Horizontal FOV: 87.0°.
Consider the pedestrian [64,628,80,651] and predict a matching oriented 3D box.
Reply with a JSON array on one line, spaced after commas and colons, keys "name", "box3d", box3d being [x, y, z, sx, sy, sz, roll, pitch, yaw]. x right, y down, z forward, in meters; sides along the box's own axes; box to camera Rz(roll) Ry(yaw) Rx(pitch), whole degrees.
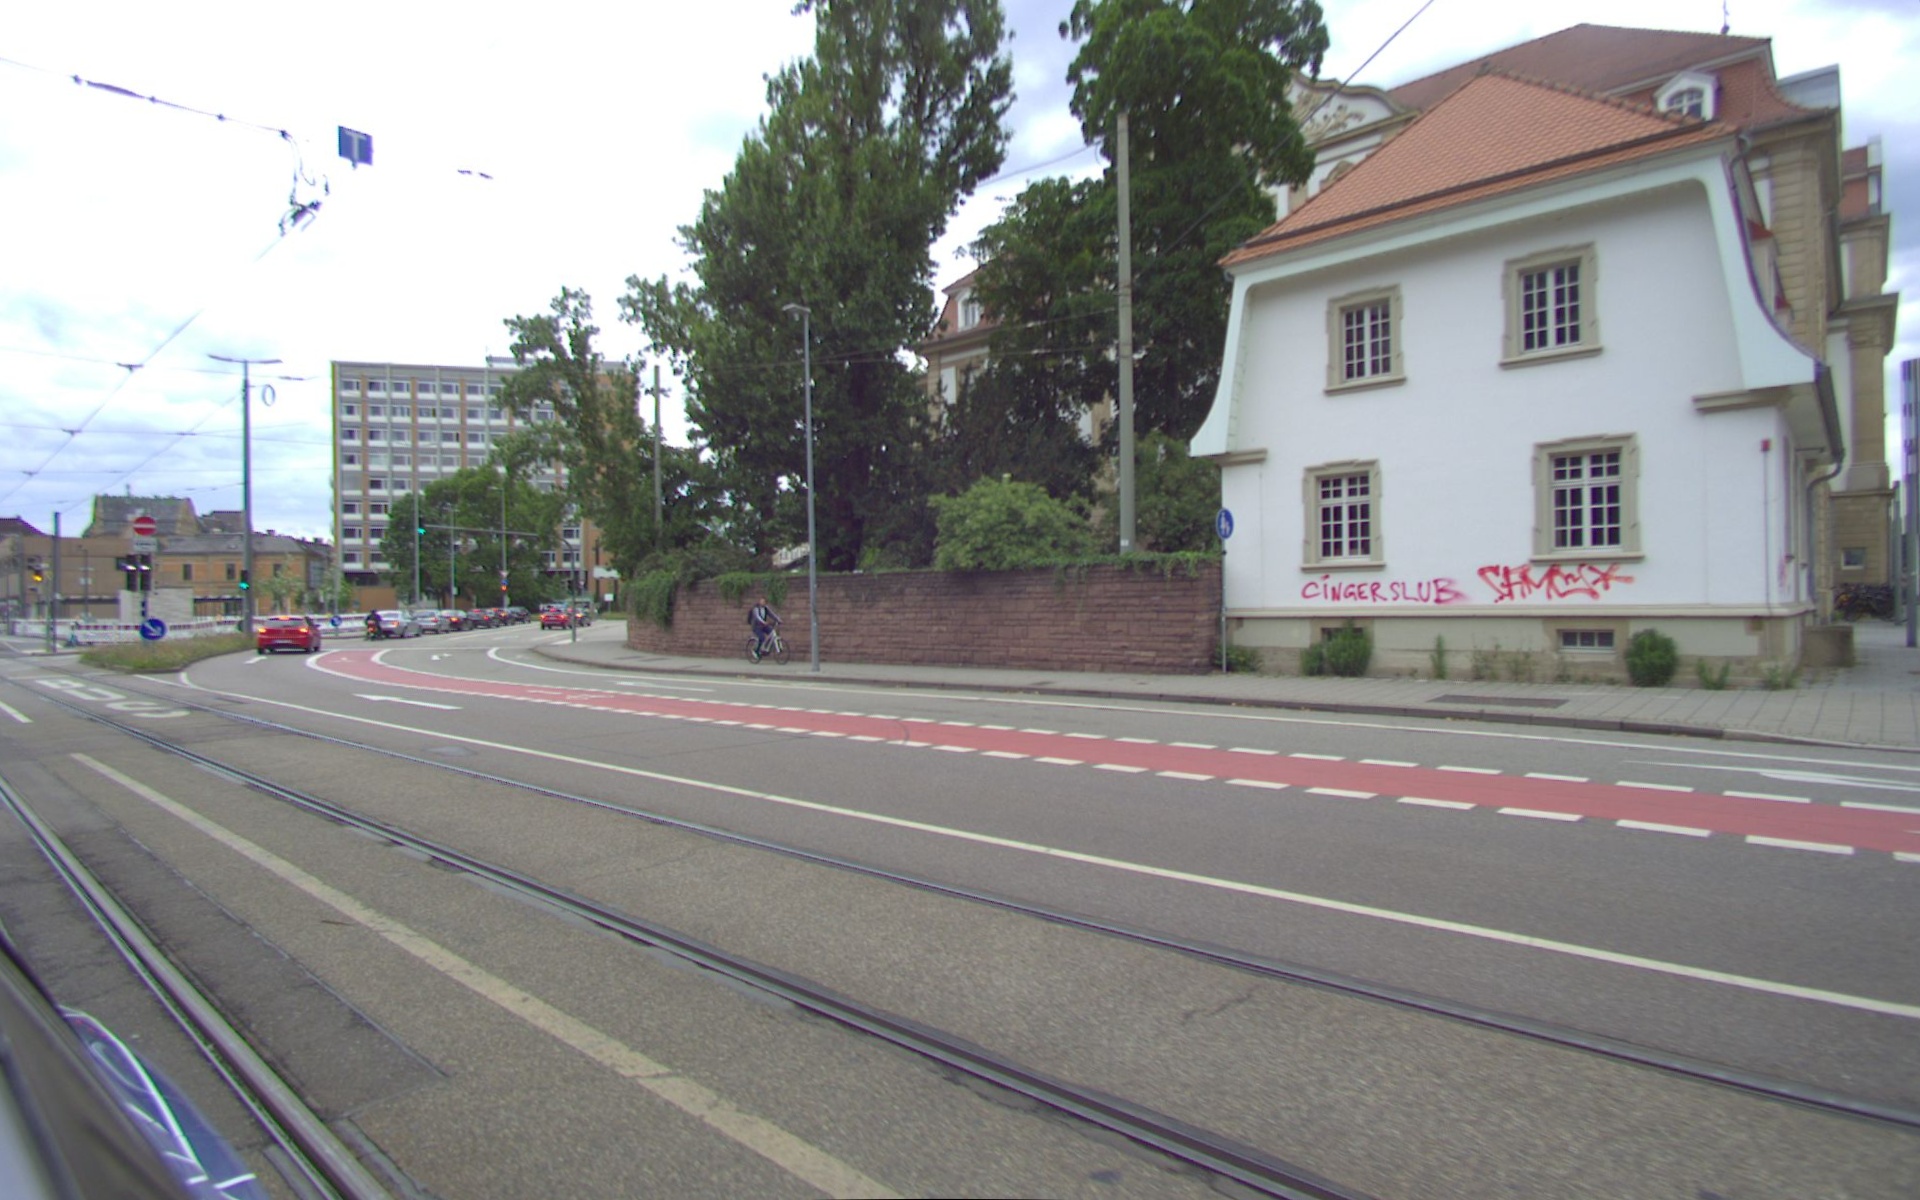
[{"name": "pedestrian", "box3d": [-41.173, 1.818, 46.909, 0.537, 1.064, 0.638, -1, 0, -40]}]

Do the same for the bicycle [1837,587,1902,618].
[{"name": "bicycle", "box3d": [33.212, 0.074, 36.981, 0.481, 1.082, 1.704, -1, 2, -42]}]

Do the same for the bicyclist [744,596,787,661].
[{"name": "bicyclist", "box3d": [-5.235, 0.759, 27.271, 0.869, 1.703, 0.765, -1, -1, 42]}]

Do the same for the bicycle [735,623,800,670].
[{"name": "bicycle", "box3d": [-5.198, 1.232, 27.245, 1.869, 1.221, 0.765, -1, -1, 43]}]

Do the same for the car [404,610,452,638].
[{"name": "car", "box3d": [-32.494, 1.439, 61.899, 1.658, 1.663, 3.991, -1, 0, -14]}]

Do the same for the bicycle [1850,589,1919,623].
[{"name": "bicycle", "box3d": [30.749, 0.185, 33.448, 0.708, 1.082, 1.932, -1, 2, -42]}]

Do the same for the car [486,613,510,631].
[{"name": "car", "box3d": [-36.785, 1.734, 80.620, 1.391, 1.342, 3.321, -1, 0, -20]}]

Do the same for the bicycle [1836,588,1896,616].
[{"name": "bicycle", "box3d": [36.285, 0.075, 40.547, 0.539, 1.082, 1.718, -1, 2, -42]}]

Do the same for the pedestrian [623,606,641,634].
[{"name": "pedestrian", "box3d": [-21.832, 1.316, 67.388, 1.073, 1.854, 0.907, -1, 0, -19]}]

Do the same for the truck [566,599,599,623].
[{"name": "truck", "box3d": [-49.891, 1.483, 134.063, 3.435, 3.002, 7.635, -1, 0, -16]}]

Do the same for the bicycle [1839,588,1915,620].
[{"name": "bicycle", "box3d": [32.671, 0.117, 36.077, 0.708, 1.082, 1.932, -1, 2, -42]}]

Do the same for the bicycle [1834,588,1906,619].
[{"name": "bicycle", "box3d": [34.039, 0.110, 37.889, 0.606, 1.082, 1.932, -1, 2, -42]}]

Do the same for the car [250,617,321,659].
[{"name": "car", "box3d": [-25.831, 1.422, 38.865, 1.731, 1.510, 4.013, 1, -1, -26]}]

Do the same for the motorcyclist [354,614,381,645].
[{"name": "motorcyclist", "box3d": [-29.831, 1.490, 51.004, 1.058, 1.497, 1.255, -1, 0, -25]}]

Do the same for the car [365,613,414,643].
[{"name": "car", "box3d": [-30.703, 1.492, 54.521, 1.470, 1.520, 3.479, -1, 0, -15]}]

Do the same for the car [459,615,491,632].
[{"name": "car", "box3d": [-35.182, 1.671, 73.434, 1.400, 1.179, 3.078, -1, 0, -12]}]

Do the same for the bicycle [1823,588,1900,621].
[{"name": "bicycle", "box3d": [31.590, 0.155, 35.490, 0.708, 1.082, 1.932, -1, 2, -42]}]

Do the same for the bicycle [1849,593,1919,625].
[{"name": "bicycle", "box3d": [30.118, 0.273, 32.741, 0.708, 0.985, 1.932, -1, 2, -42]}]

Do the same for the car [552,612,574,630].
[{"name": "car", "box3d": [-31.791, 1.673, 81.060, 1.558, 1.408, 4.013, -1, 0, -21]}]

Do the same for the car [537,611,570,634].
[{"name": "car", "box3d": [-29.453, 1.600, 73.434, 1.801, 1.594, 4.012, -1, 0, -16]}]

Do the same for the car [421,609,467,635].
[{"name": "car", "box3d": [-34.177, 1.444, 67.124, 1.757, 1.623, 4.336, -1, 0, -13]}]

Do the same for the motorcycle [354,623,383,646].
[{"name": "motorcycle", "box3d": [-29.372, 1.701, 50.315, 1.038, 1.077, 2.657, -1, 0, -26]}]
